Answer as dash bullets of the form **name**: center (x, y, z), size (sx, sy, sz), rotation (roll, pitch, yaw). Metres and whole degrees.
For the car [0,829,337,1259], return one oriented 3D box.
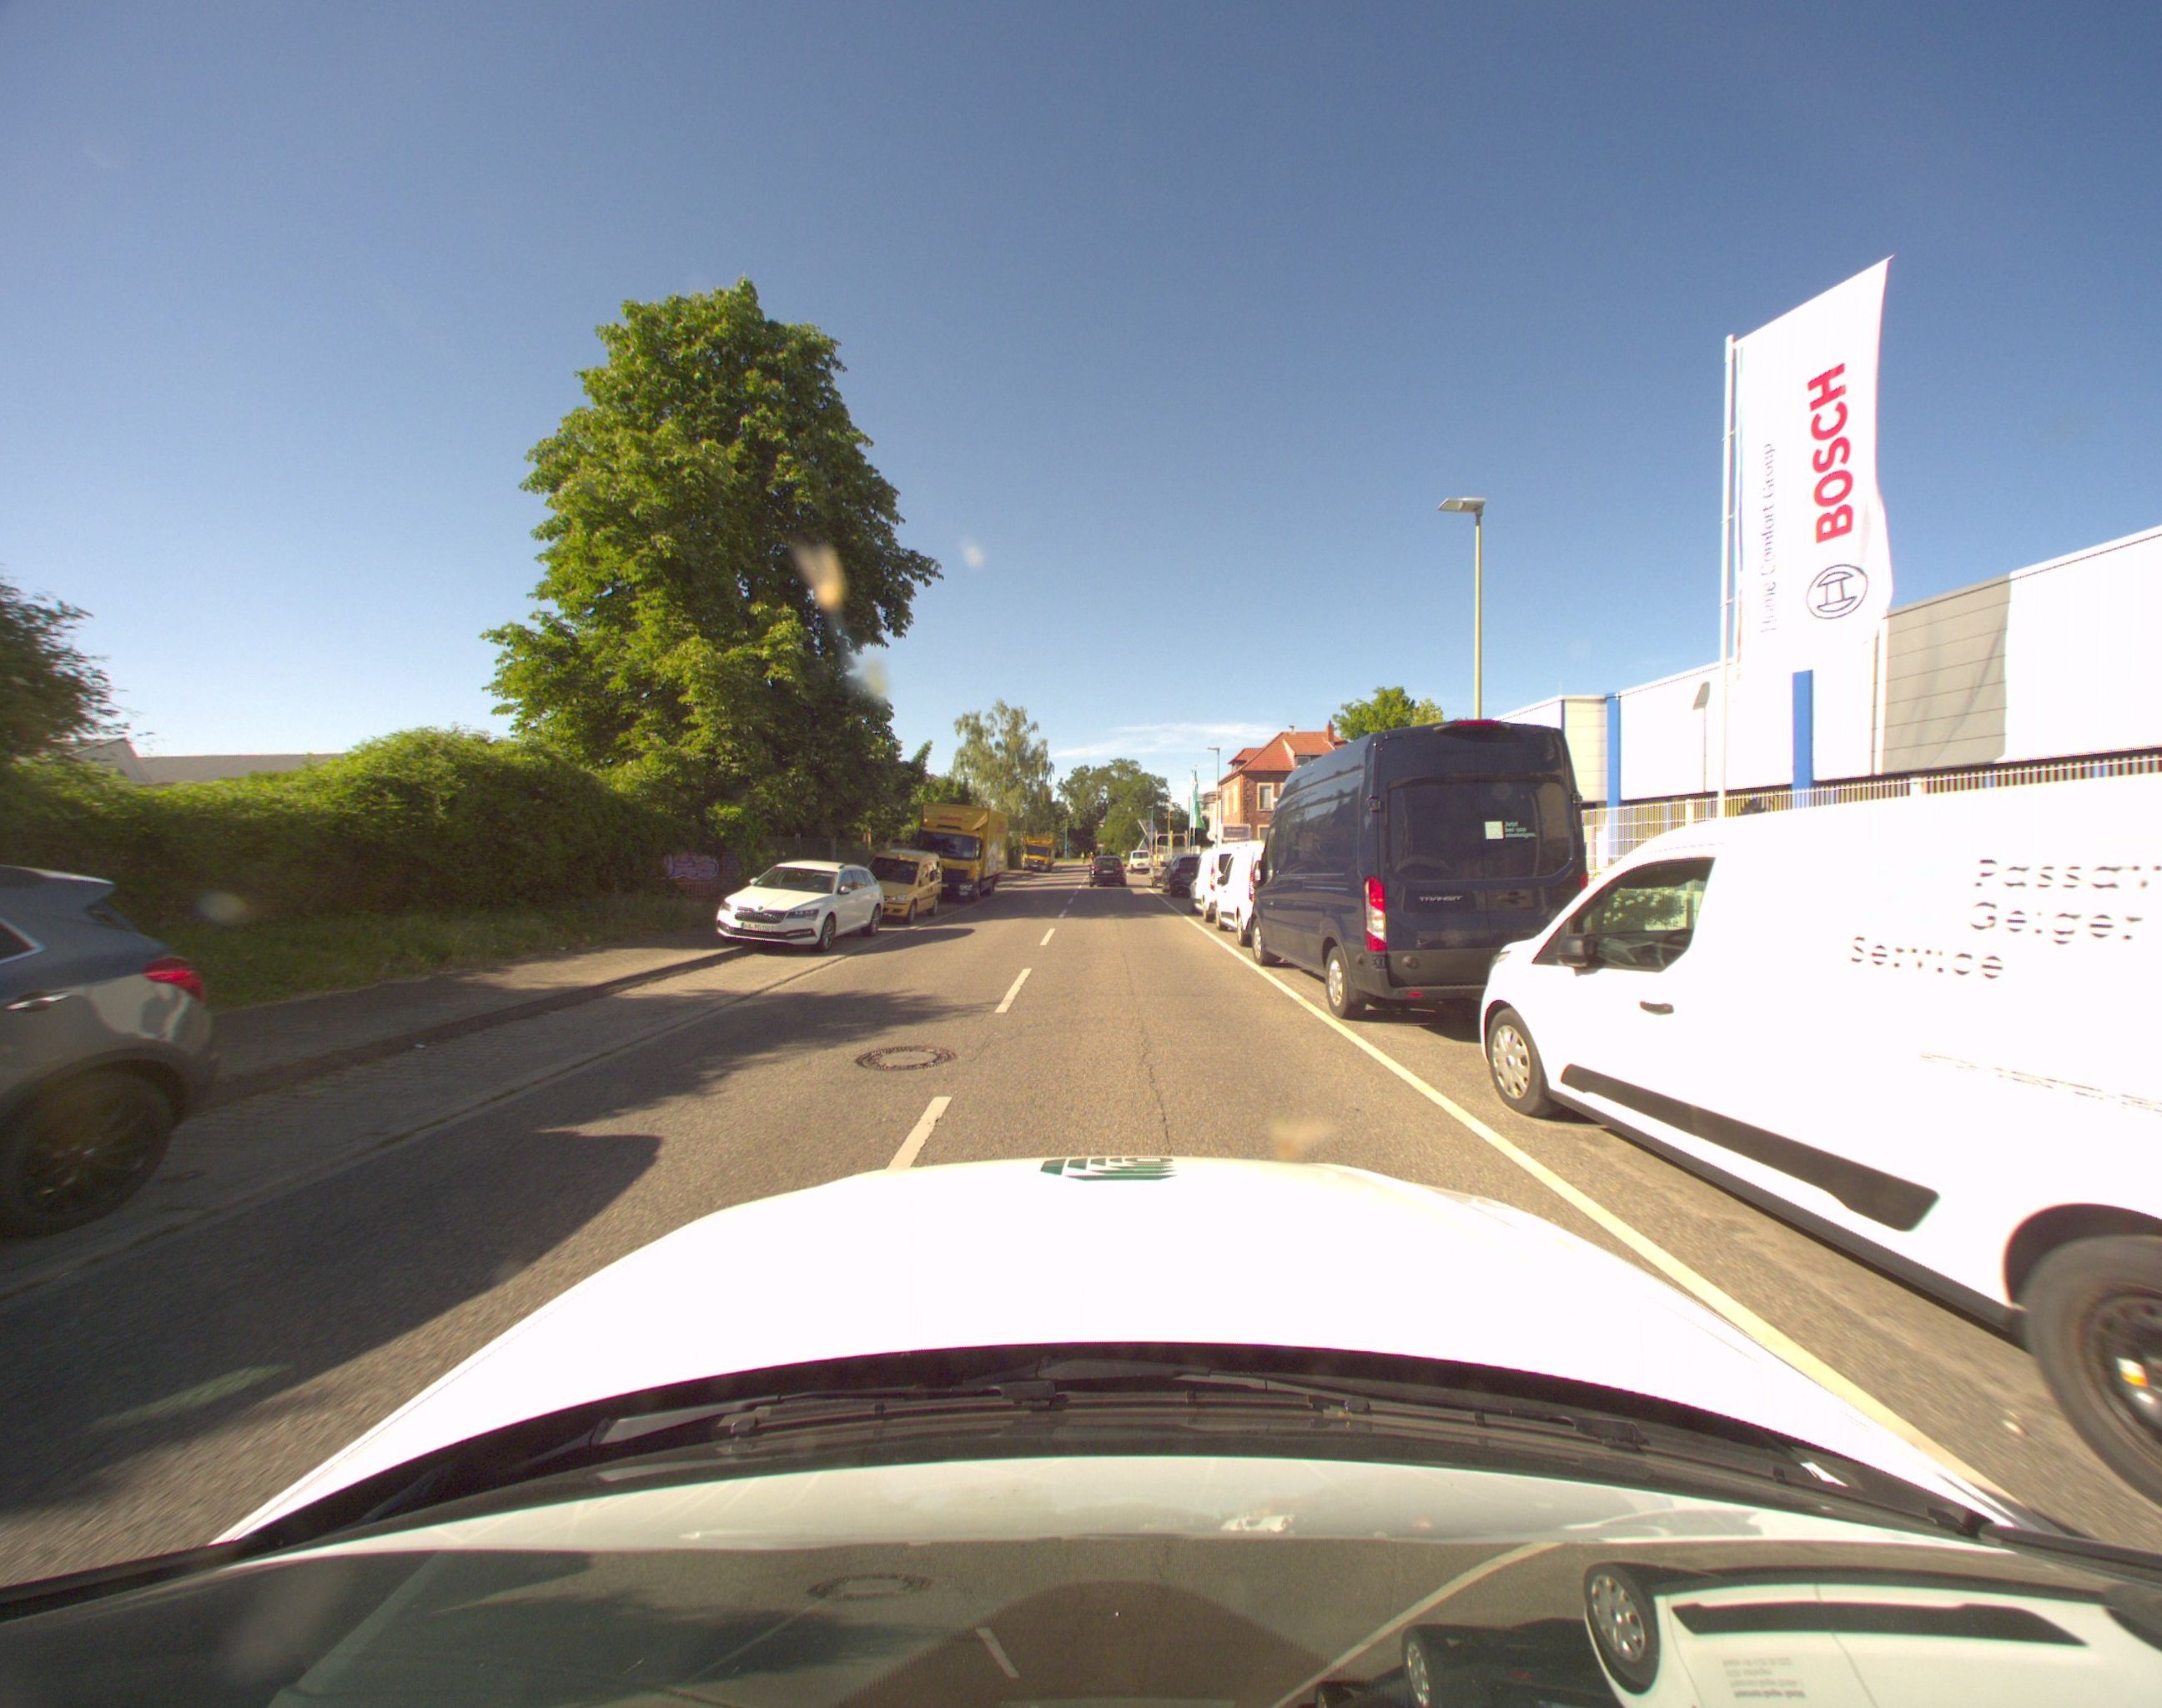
- **car**: center (-5.308, 0.762, 2.469), size (1.902, 1.662, 4.462), rotation (4, 0, -1)

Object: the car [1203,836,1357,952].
- **car**: center (3.649, 0.672, 15.923), size (1.879, 1.847, 5.106), rotation (2, 0, 2)

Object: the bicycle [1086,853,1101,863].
- **bicycle**: center (1.692, 0.489, 110.113), size (0.809, 1.268, 2.235), rotation (2, -1, -33)

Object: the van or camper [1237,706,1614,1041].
- **van or camper**: center (3.488, 0.184, 9.934), size (2.133, 2.759, 6.163), rotation (2, 0, 2)

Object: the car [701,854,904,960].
- **car**: center (-5.113, 0.868, 15.845), size (1.900, 1.593, 5.028), rotation (4, 0, 2)

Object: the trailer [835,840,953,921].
- **trailer**: center (-4.848, 0.647, 21.771), size (1.986, 1.941, 4.417), rotation (0, 0, 2)

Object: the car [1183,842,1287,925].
- **car**: center (3.836, 0.697, 21.165), size (1.848, 1.830, 5.170), rotation (2, 0, 2)

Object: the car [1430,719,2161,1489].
- **car**: center (3.502, 0.618, 3.487), size (1.879, 1.797, 5.104), rotation (2, 0, 1)

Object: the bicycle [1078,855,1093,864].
- **bicycle**: center (0.588, 0.732, 113.520), size (0.810, 1.221, 2.233), rotation (2, -1, -38)

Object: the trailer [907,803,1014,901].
- **trailer**: center (-4.578, -0.058, 32.684), size (2.981, 3.443, 8.161), rotation (0, 0, 0)

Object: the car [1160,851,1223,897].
- **car**: center (4.336, 0.755, 32.522), size (1.986, 1.667, 4.733), rotation (2, 0, 2)

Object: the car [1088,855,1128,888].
- **car**: center (1.327, 0.805, 39.447), size (1.840, 1.530, 4.003), rotation (0, 0, 2)

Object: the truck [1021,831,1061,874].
- **truck**: center (-3.652, -0.216, 76.289), size (2.622, 3.504, 8.661), rotation (6, 1, 2)

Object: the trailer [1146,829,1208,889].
- **trailer**: center (4.531, 0.223, 39.402), size (2.451, 2.673, 5.703), rotation (0, 0, 1)

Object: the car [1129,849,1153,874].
- **car**: center (5.140, 0.630, 70.006), size (1.867, 2.014, 5.163), rotation (2, 0, 2)
